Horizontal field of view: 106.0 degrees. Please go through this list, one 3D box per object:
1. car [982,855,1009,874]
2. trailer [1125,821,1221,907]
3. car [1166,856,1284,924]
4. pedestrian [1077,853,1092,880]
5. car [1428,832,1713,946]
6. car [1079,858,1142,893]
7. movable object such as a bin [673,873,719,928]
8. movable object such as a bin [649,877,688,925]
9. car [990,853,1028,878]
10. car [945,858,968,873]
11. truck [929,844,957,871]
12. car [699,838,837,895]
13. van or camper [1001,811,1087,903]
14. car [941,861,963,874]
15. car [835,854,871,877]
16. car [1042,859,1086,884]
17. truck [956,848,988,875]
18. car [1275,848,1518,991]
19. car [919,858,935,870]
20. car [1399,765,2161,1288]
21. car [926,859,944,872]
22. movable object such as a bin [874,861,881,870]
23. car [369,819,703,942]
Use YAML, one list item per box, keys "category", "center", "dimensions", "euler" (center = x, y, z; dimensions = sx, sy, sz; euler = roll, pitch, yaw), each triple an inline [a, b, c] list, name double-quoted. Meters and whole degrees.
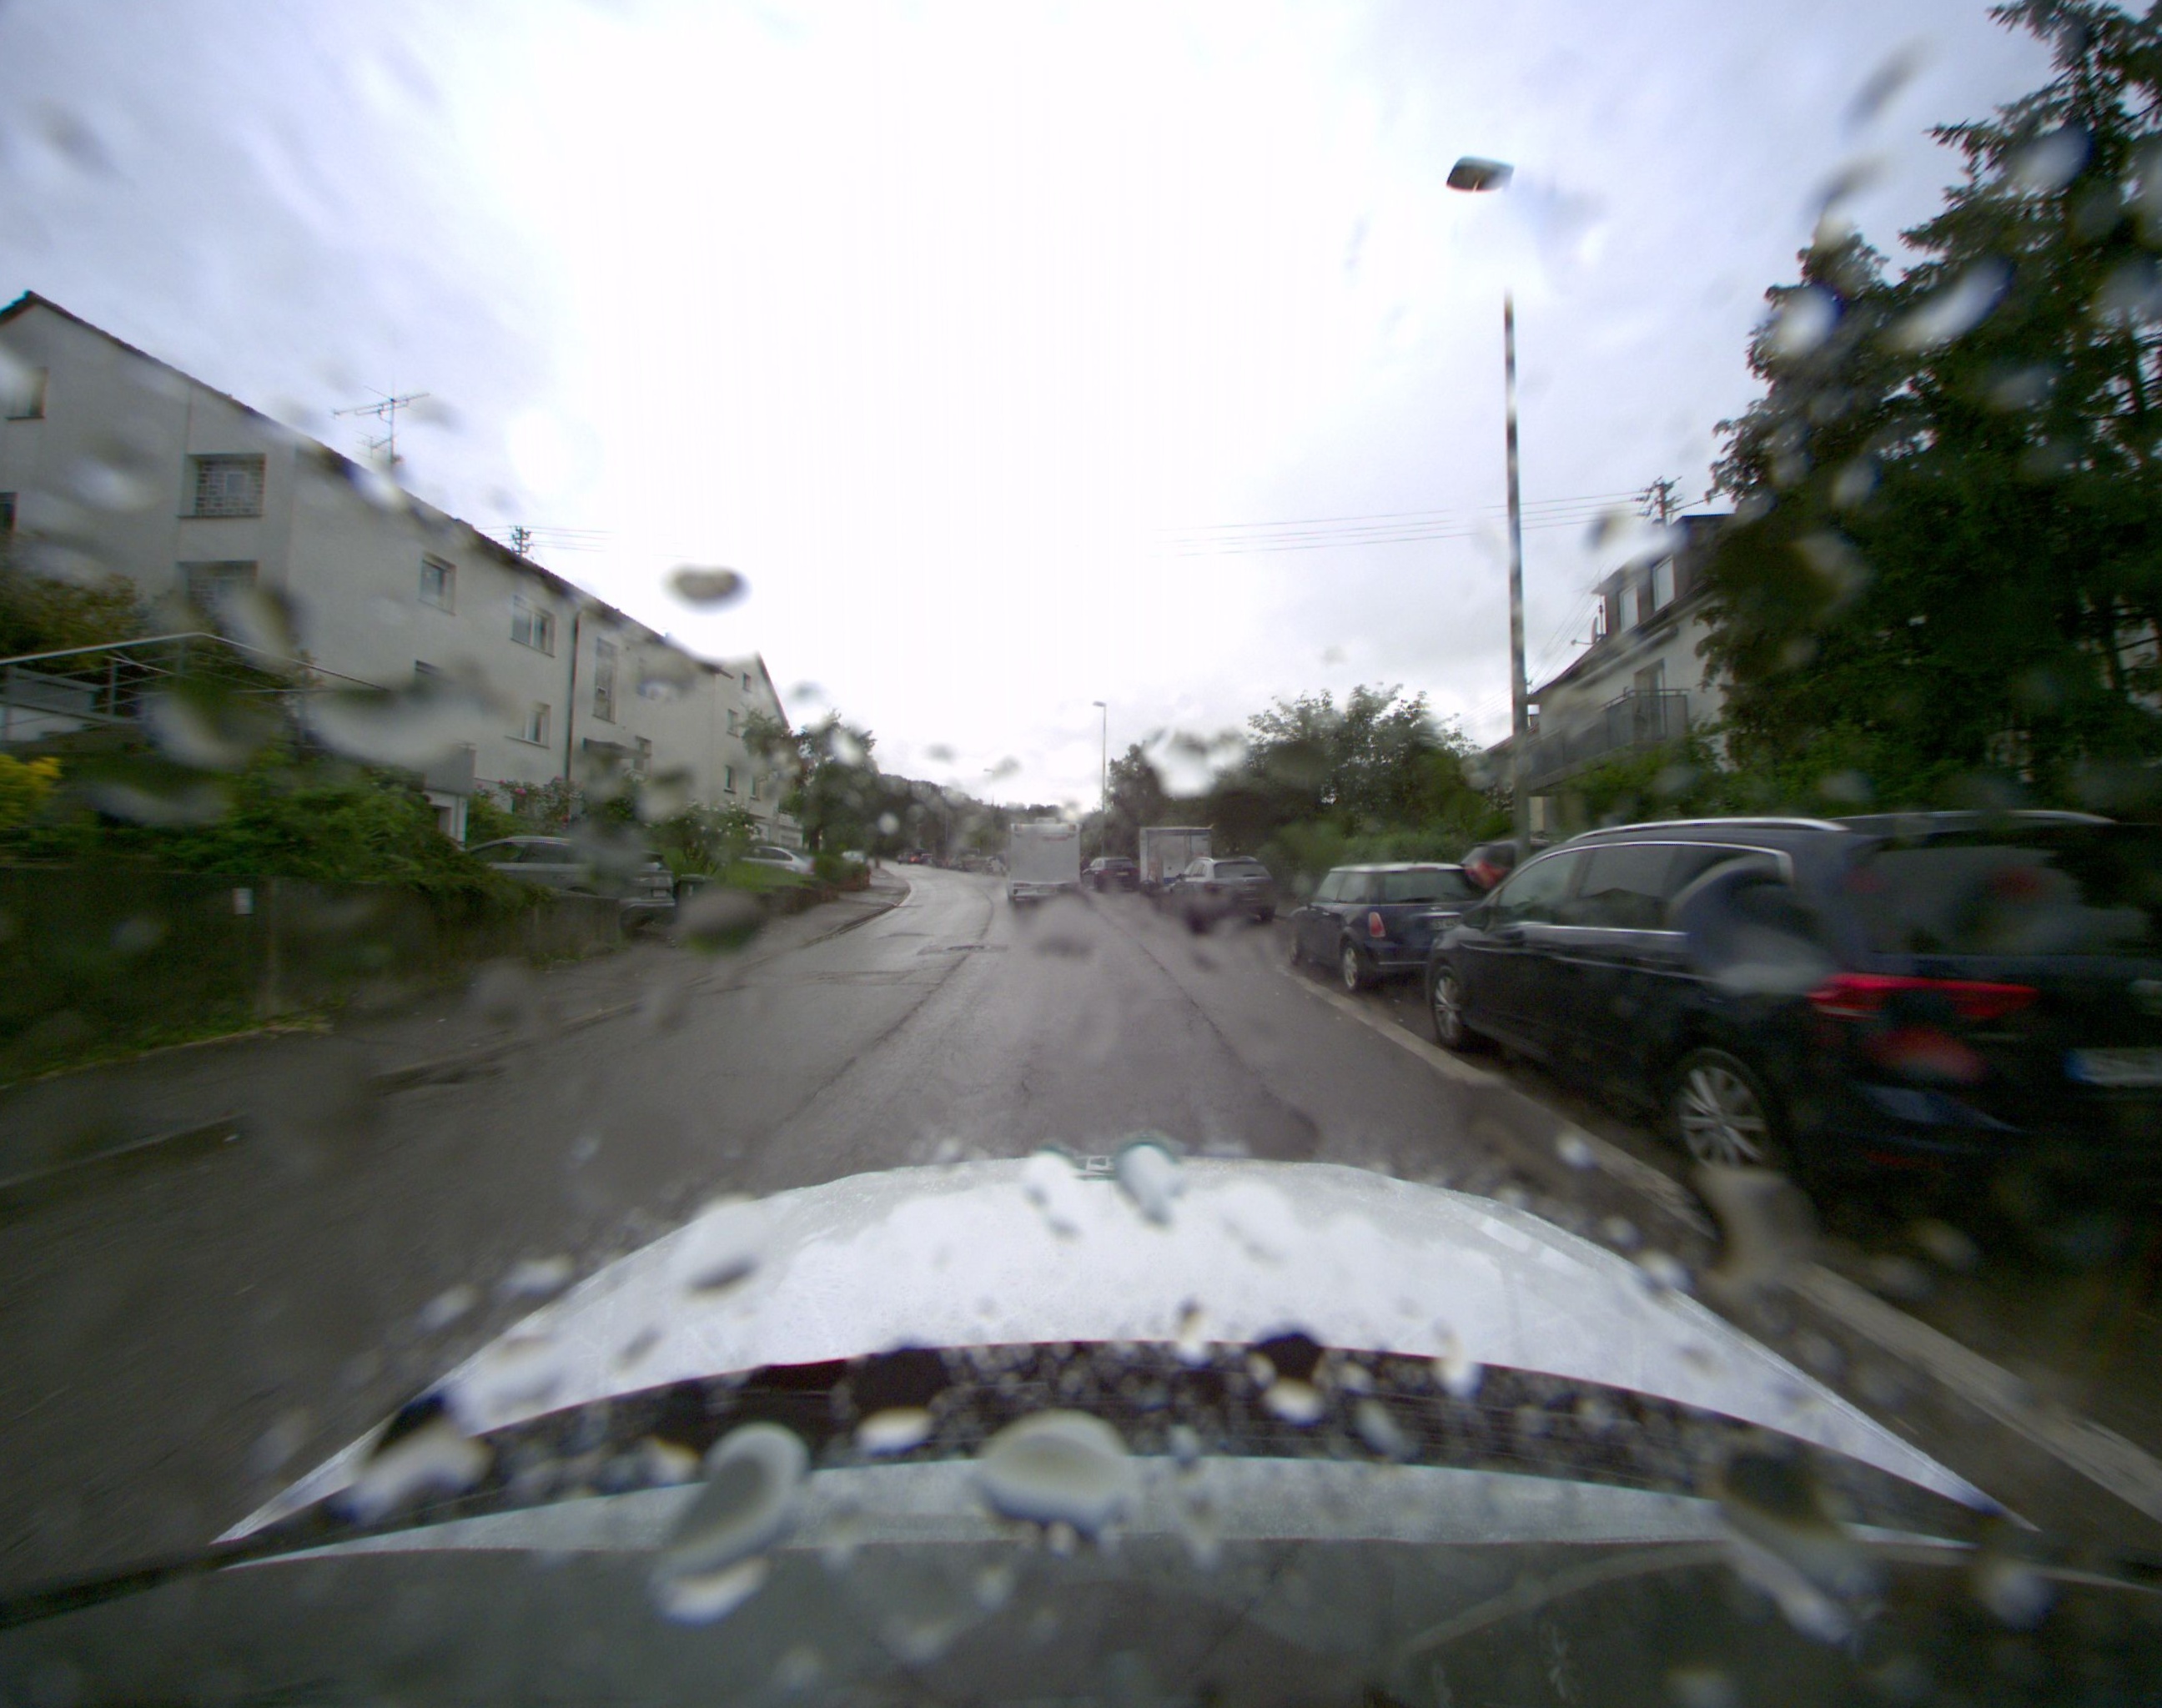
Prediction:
- category: "car"
  center: [-7.256, 0.904, 68.980]
  dimensions: [1.651, 1.563, 3.942]
  euler: [0, -1, -15]
- category: "trailer"
  center: [2.795, 0.323, 26.055]
  dimensions: [1.946, 2.457, 5.423]
  euler: [-1, -1, -6]
- category: "car"
  center: [3.339, 0.800, 19.843]
  dimensions: [1.744, 1.424, 4.697]
  euler: [-1, -1, -4]
- category: "pedestrian"
  center: [0.193, 0.750, 48.906]
  dimensions: [0.706, 1.635, 0.715]
  euler: [0, -1, -16]
- category: "car"
  center: [8.633, 0.588, 14.636]
  dimensions: [3.988, 1.688, 1.778]
  euler: [3, 0, 2]
- category: "car"
  center: [1.253, 0.924, 36.418]
  dimensions: [1.794, 1.459, 4.770]
  euler: [-1, 0, -11]
- category: "movable object such as a bin"
  center: [-8.116, 0.962, 17.191]
  dimensions: [0.536, 1.076, 0.742]
  euler: [6, -1, -4]
- category: "movable object such as a bin"
  center: [-8.669, 0.983, 17.119]
  dimensions: [0.467, 0.954, 0.495]
  euler: [5, -1, 0]
- category: "car"
  center: [-5.711, 0.927, 63.740]
  dimensions: [1.854, 1.882, 4.879]
  euler: [0, -1, -19]
- category: "car"
  center: [-13.493, 1.214, 87.989]
  dimensions: [1.764, 1.604, 4.639]
  euler: [0, -1, -17]
- category: "truck"
  center: [-17.440, 0.469, 102.642]
  dimensions: [2.442, 3.335, 7.919]
  euler: [0, -1, -17]
- category: "car"
  center: [-11.516, 0.475, 30.155]
  dimensions: [4.234, 1.431, 1.768]
  euler: [9, -1, 3]
- category: "van or camper"
  center: [-1.453, 0.231, 28.709]
  dimensions: [2.612, 2.853, 6.017]
  euler: [1, -2, -6]
- category: "car"
  center: [-15.208, 1.564, 95.664]
  dimensions: [1.837, 1.438, 4.957]
  euler: [0, -1, -18]
- category: "car"
  center: [-15.128, 0.786, 54.195]
  dimensions: [1.765, 1.376, 4.233]
  euler: [3, -2, -10]
- category: "car"
  center: [-1.061, 1.018, 47.612]
  dimensions: [1.738, 1.414, 3.833]
  euler: [0, -1, -14]
- category: "truck"
  center: [-10.935, 0.751, 81.133]
  dimensions: [2.243, 2.631, 6.503]
  euler: [0, -1, -15]
- category: "car"
  center: [3.687, 0.695, 10.236]
  dimensions: [1.628, 1.457, 3.700]
  euler: [-1, -1, 0]
- category: "car"
  center: [-22.328, 1.405, 117.907]
  dimensions: [1.940, 1.672, 4.670]
  euler: [0, 0, -15]
- category: "car"
  center: [3.626, 0.584, 4.885]
  dimensions: [1.822, 1.701, 4.463]
  euler: [-1, -1, 2]
- category: "car"
  center: [-19.907, 1.586, 110.711]
  dimensions: [1.850, 1.683, 5.606]
  euler: [0, -1, -17]
- category: "movable object such as a bin"
  center: [-20.654, 1.143, 82.833]
  dimensions: [0.604, 0.928, 0.560]
  euler: [2, -1, -21]
- category: "car"
  center: [-9.636, 0.475, 14.731]
  dimensions: [4.498, 1.614, 1.930]
  euler: [6, -1, -3]
